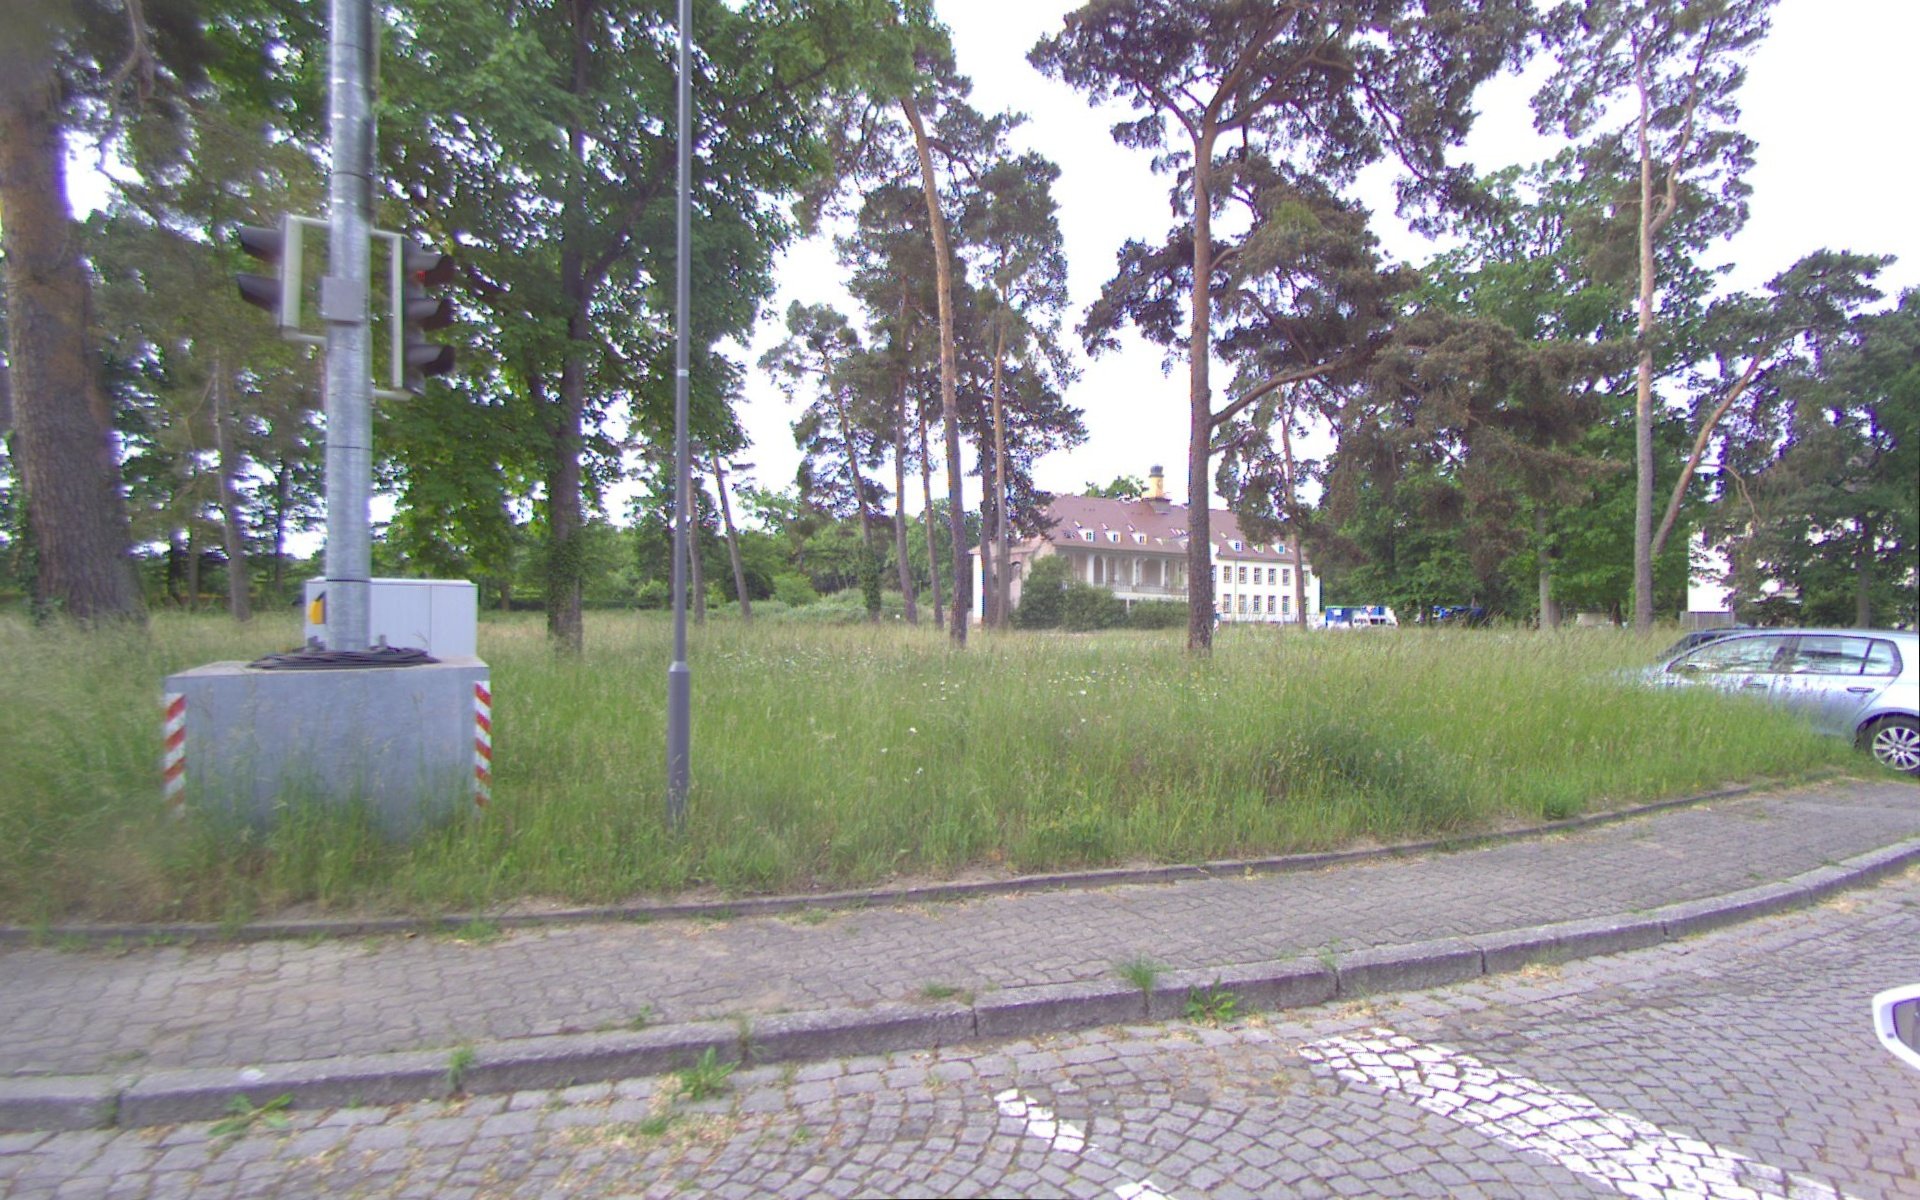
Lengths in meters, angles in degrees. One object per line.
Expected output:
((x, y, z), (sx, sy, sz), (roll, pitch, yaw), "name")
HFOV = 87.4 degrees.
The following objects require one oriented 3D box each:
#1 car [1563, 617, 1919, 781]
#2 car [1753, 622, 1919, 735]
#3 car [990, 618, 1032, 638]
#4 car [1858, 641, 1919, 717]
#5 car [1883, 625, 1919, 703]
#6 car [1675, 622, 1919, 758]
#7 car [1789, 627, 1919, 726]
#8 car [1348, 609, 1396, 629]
((9.405, 1.000, 11.429), (1.884, 1.563, 3.965), (1, -1, -32), "car")
((14.120, 1.098, 14.090), (1.915, 1.527, 4.348), (1, -1, -33), "car")
((5.824, 3.191, 114.637), (1.983, 2.229, 4.982), (1, -1, -39), "car")
((17.930, 1.385, 16.707), (1.809, 1.283, 4.146), (1, -1, -30), "car")
((19.963, 1.239, 18.426), (1.824, 1.502, 4.146), (1, -1, -30), "car")
((11.820, 1.086, 12.650), (1.916, 1.568, 4.222), (1, -1, -35), "car")
((15.827, 1.213, 15.658), (1.844, 1.496, 4.143), (1, -1, -32), "car")
((44.233, 2.009, 107.771), (5.167, 2.040, 1.985), (2, -1, -29), "car")
